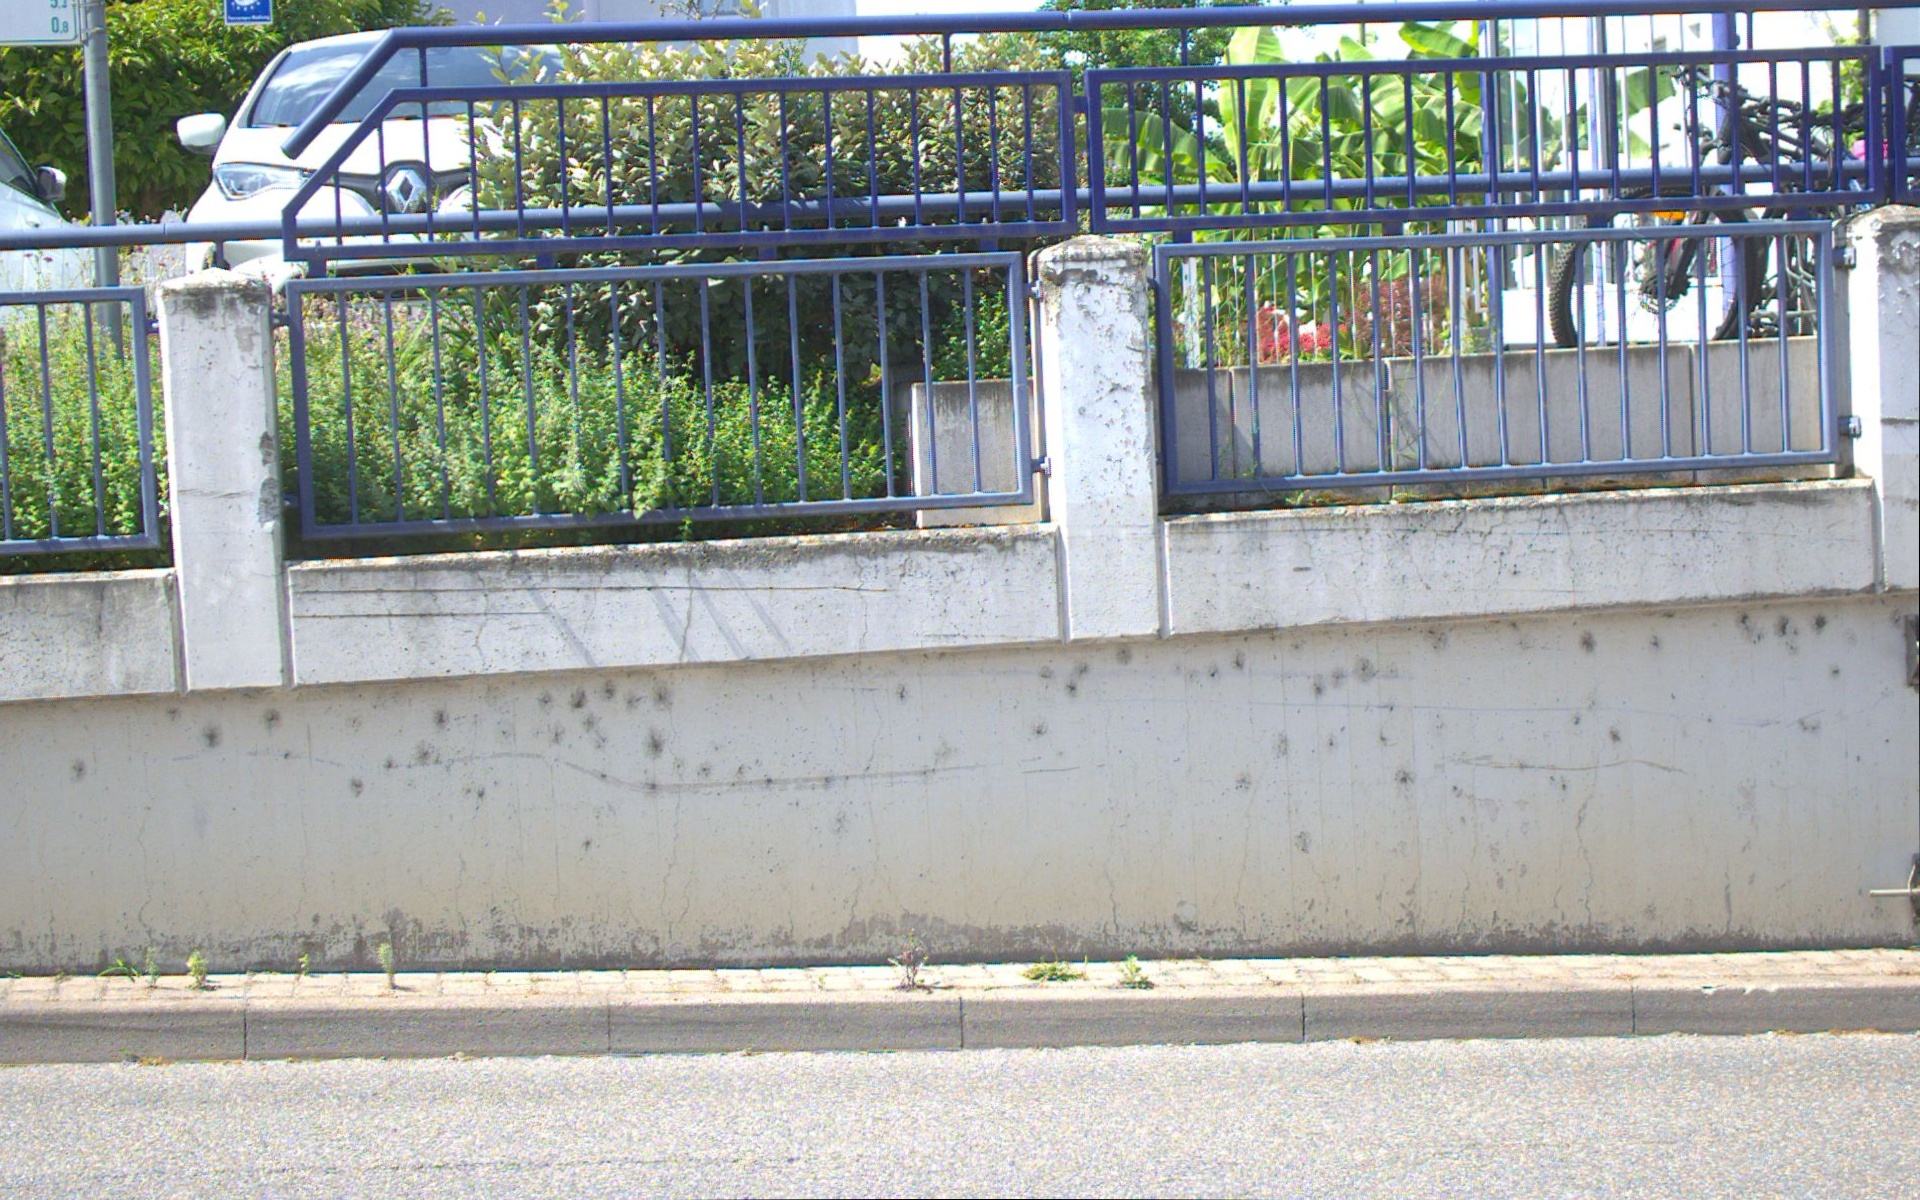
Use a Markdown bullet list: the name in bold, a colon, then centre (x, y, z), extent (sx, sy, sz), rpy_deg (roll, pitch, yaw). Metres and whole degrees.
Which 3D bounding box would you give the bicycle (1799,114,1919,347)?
- **bicycle**: centre (4.292, -1.670, 15.802), extent (0.372, 0.991, 1.966), rpy_deg (-2, 4, 0)

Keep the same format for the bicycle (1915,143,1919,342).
- **bicycle**: centre (4.991, -1.728, 16.294), extent (0.372, 0.991, 1.966), rpy_deg (-2, 4, 0)

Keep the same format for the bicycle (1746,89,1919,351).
- **bicycle**: centre (3.758, -1.521, 13.931), extent (0.332, 0.991, 2.077), rpy_deg (-2, 4, -10)

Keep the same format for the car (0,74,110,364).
- **car**: centre (-4.587, -1.514, 13.490), extent (1.824, 1.016, 3.460), rpy_deg (1, 2, -4)

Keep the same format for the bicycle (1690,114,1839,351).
- **bicycle**: centre (3.624, -1.632, 15.574), extent (0.455, 0.991, 1.888), rpy_deg (-1, 4, 8)

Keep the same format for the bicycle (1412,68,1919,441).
- **bicycle**: centre (2.522, -1.107, 10.961), extent (2.114, 1.122, 0.333), rpy_deg (-2, 4, -10)

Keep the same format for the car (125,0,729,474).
- **car**: centre (-1.949, -1.431, 13.784), extent (1.993, 1.791, 4.197), rpy_deg (1, 2, -4)
